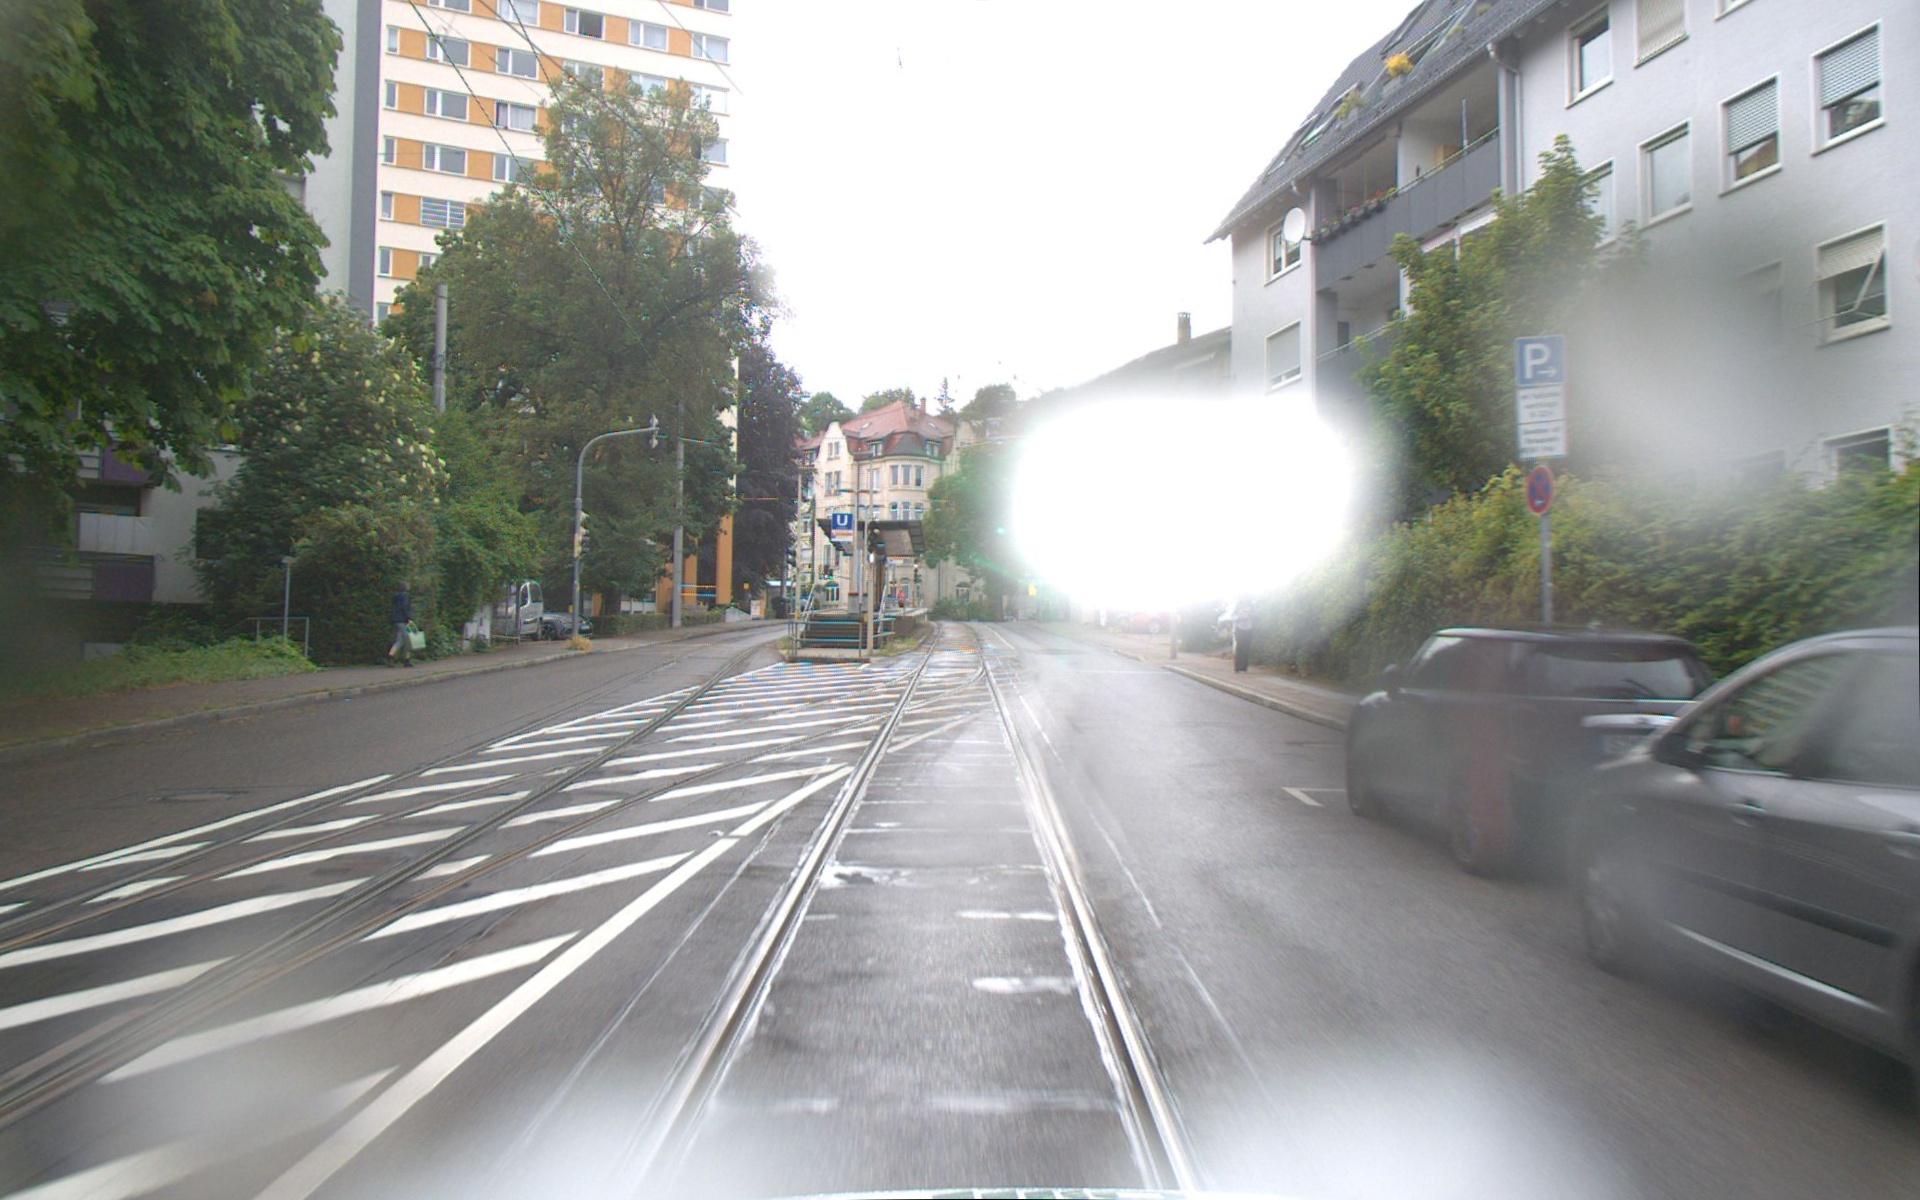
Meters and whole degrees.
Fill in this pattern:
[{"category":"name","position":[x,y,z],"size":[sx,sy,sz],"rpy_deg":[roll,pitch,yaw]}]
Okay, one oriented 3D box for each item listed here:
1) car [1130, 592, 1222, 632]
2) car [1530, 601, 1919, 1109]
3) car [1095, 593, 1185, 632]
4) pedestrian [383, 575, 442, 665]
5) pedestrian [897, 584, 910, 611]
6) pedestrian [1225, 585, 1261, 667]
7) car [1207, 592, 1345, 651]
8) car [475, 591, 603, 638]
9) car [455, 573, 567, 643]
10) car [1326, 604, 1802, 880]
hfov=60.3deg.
[{"category":"car","position":[9.550,0.540,73.277],"size":[3.764,1.570,1.807],"rpy_deg":[2,-3,-2]},{"category":"car","position":[3.584,0.769,5.720],"size":[1.670,1.453,4.249],"rpy_deg":[2,-1,-1]},{"category":"car","position":[8.356,0.597,76.978],"size":[3.906,1.674,1.807],"rpy_deg":[2,-3,-1]},{"category":"pedestrian","position":[-10.852,0.406,32.798],"size":[0.723,1.707,0.919],"rpy_deg":[1,-4,5]},{"category":"pedestrian","position":[-3.233,-0.133,94.769],"size":[0.643,1.492,0.772],"rpy_deg":[1,-4,2]},{"category":"pedestrian","position":[5.828,0.540,34.098],"size":[0.631,1.657,0.699],"rpy_deg":[1,-2,2]},{"category":"car","position":[9.832,0.689,51.595],"size":[3.906,1.674,1.807],"rpy_deg":[2,-3,-2]},{"category":"car","position":[-14.203,0.496,55.819],"size":[3.906,1.431,1.682],"rpy_deg":[0,-5,23]},{"category":"car","position":[-12.936,0.265,47.915],"size":[1.952,1.714,4.000],"rpy_deg":[1,-4,2]},{"category":"car","position":[3.744,0.798,10.997],"size":[1.670,1.451,3.861],"rpy_deg":[2,-1,-1]}]
